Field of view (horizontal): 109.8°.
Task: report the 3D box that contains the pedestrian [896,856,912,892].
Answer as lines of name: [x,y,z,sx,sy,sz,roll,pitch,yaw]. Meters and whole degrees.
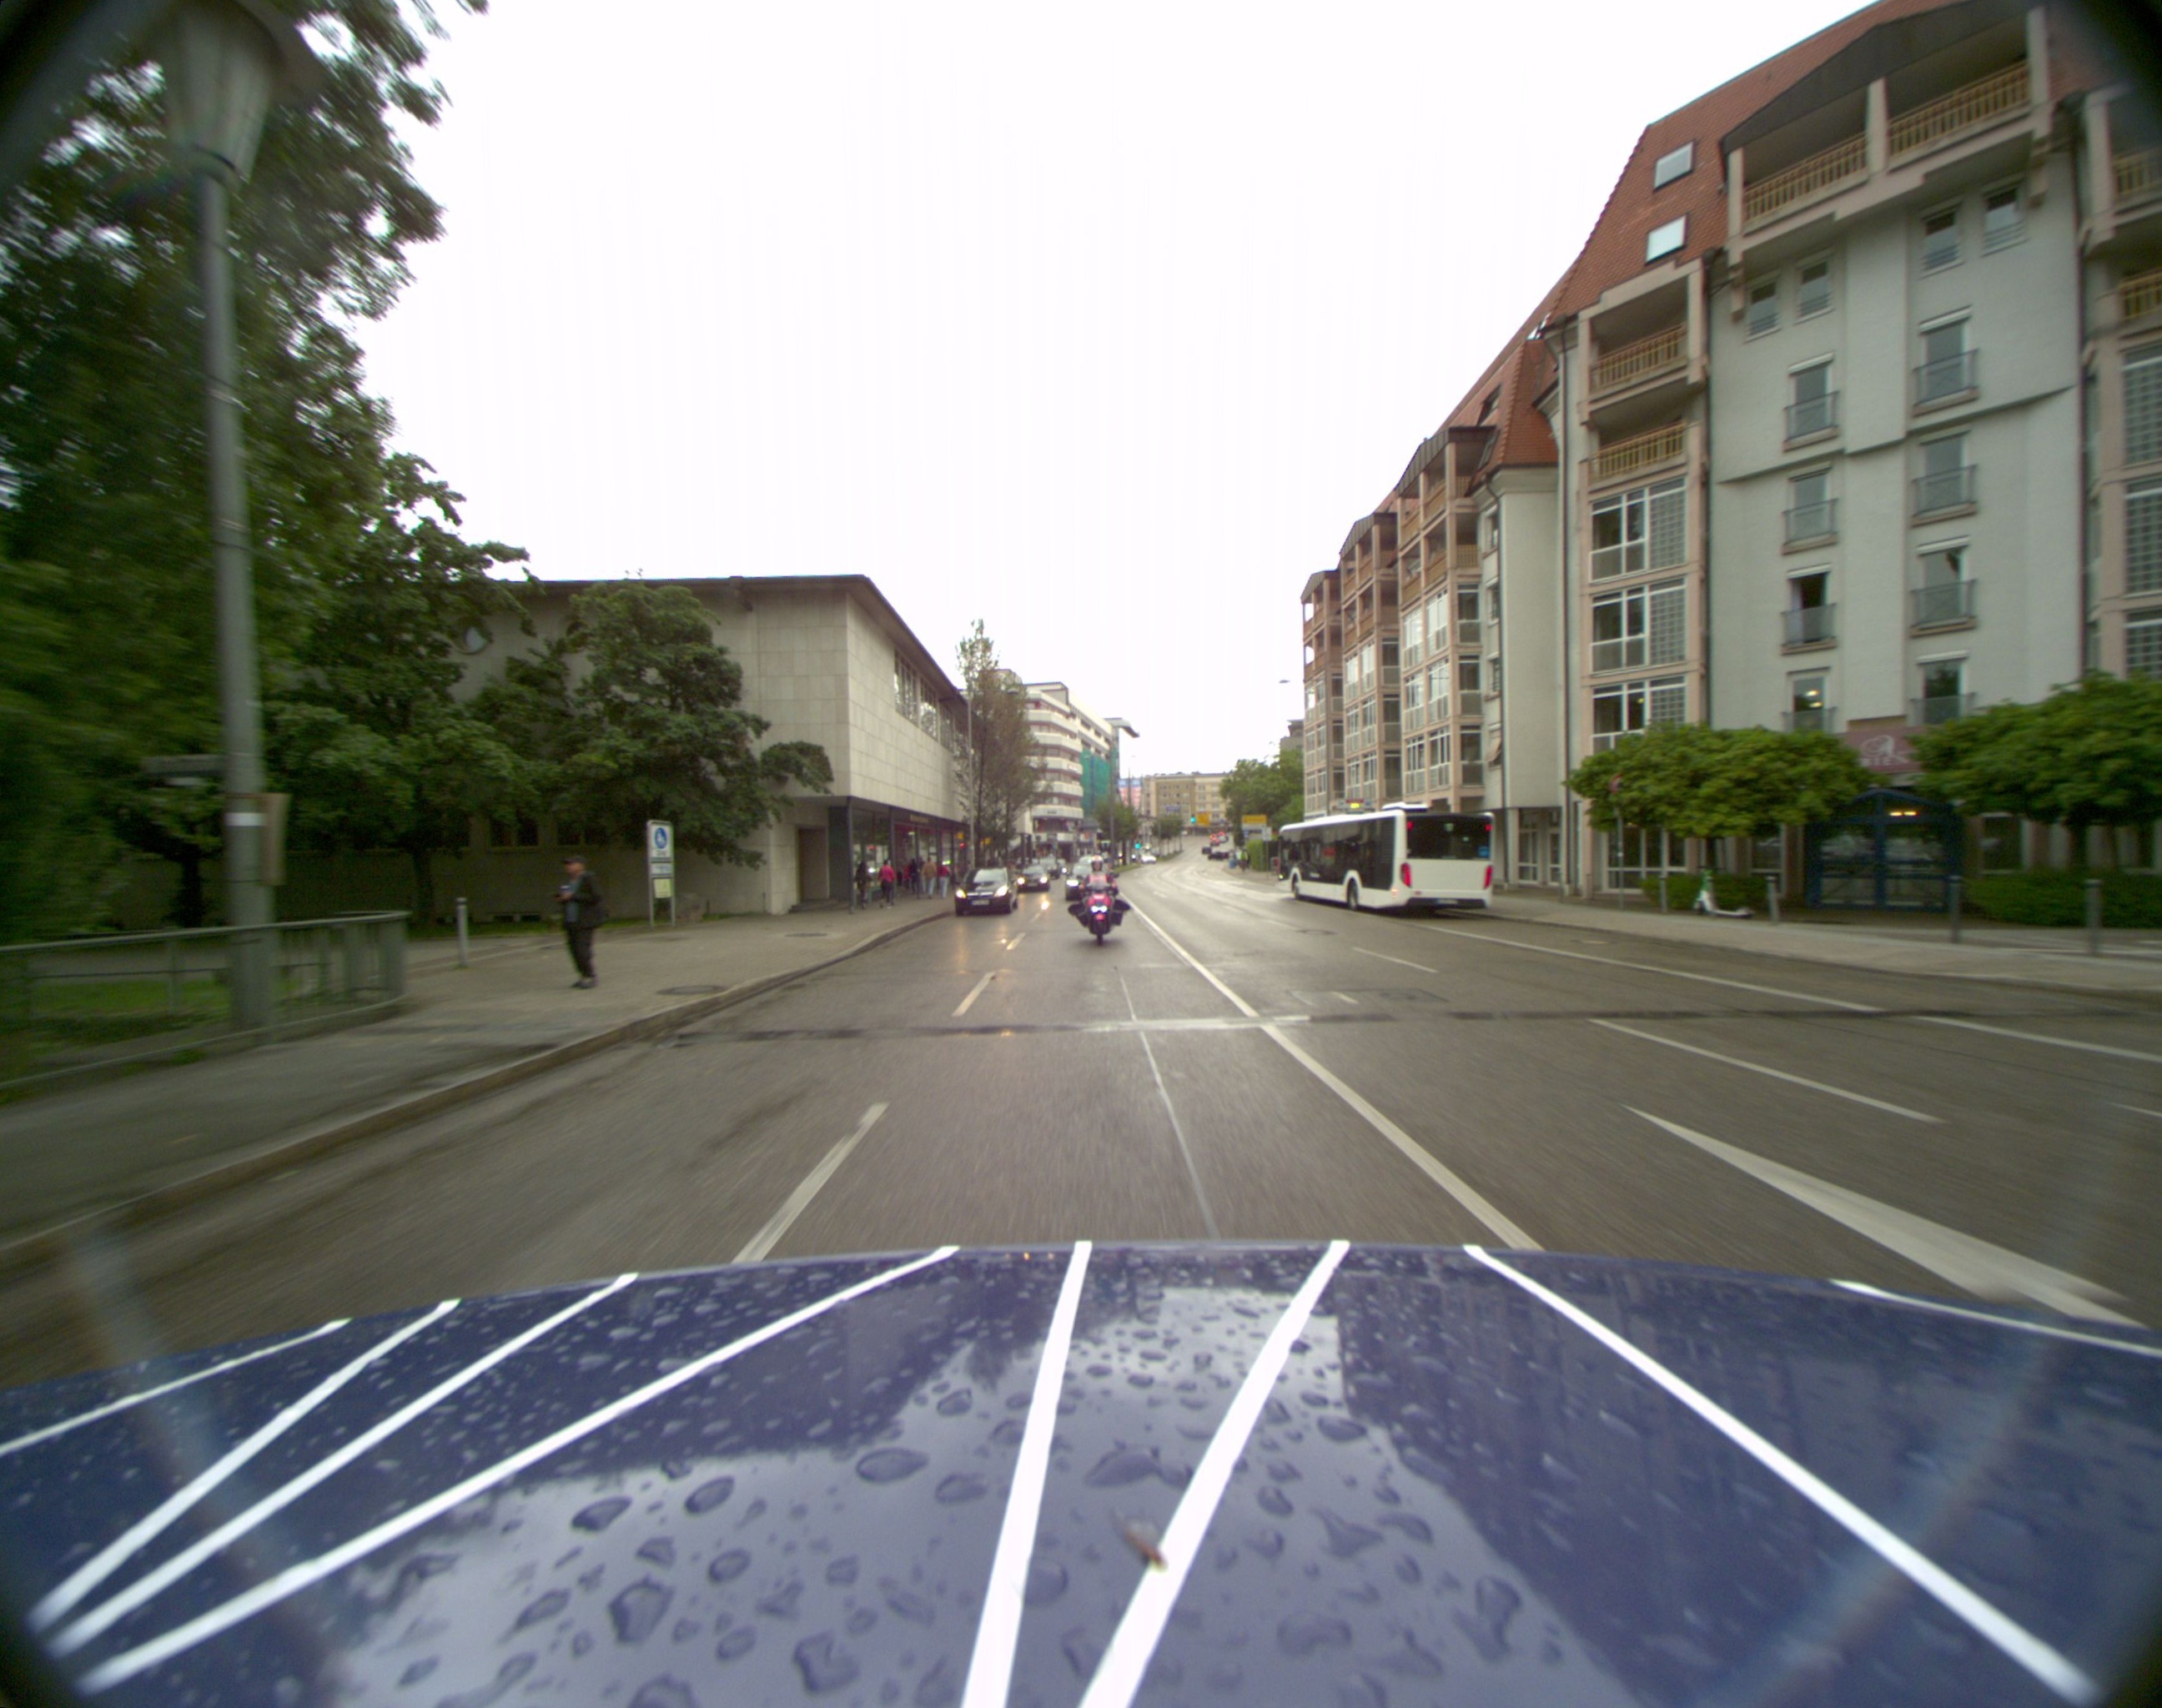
pedestrian: [-8.469,0.935,36.437,0.537,1.709,0.535,-1,1,10]

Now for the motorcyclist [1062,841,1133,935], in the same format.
motorcyclist: [0.332,0.642,14.739,1.295,1.757,0.846,-1,1,4]

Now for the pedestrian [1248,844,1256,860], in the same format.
pedestrian: [16.920,-0.158,75.245,0.716,1.550,0.565,-1,1,4]

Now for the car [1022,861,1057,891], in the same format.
car: [-2.195,1.152,40.676,1.596,1.432,3.627,-2,1,0]

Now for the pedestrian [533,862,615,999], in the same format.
pedestrian: [-6.334,0.934,9.510,0.641,1.654,0.563,0,0,-1]

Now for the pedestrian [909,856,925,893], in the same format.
pedestrian: [-7.821,0.965,36.186,0.537,1.709,0.535,-1,1,9]

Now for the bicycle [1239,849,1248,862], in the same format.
bicycle: [14.279,0.142,66.739,0.651,1.104,2.059,-1,1,10]

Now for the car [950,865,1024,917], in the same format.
car: [-2.918,1.113,24.284,1.712,1.448,3.743,-2,0,2]

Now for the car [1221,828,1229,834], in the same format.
car: [33.719,-5.391,178.279,1.674,1.507,3.645,0,2,13]

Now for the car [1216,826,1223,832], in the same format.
car: [34.627,-6.276,189.523,1.625,1.547,3.662,-1,1,11]

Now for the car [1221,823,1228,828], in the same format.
car: [38.415,-7.628,203.588,1.716,1.471,3.959,1,3,12]

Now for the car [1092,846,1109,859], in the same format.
car: [3.042,-0.305,116.596,1.830,1.727,4.001,0,4,14]

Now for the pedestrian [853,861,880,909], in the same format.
pedestrian: [-7.238,1.030,25.618,0.727,1.580,0.606,0,1,0]

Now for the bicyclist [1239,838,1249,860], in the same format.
bicyclist: [14.215,-0.446,66.420,0.793,1.879,0.954,-1,1,9]

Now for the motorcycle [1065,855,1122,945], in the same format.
motorcycle: [0.284,0.783,14.231,0.831,1.479,2.866,-1,1,5]

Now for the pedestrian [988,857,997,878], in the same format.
pedestrian: [-6.641,1.039,57.198,0.429,1.557,0.510,0,1,31]

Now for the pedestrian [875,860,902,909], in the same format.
pedestrian: [-6.470,1.015,25.543,0.719,1.611,0.769,0,1,0]

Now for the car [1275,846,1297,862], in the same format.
car: [19.671,-0.007,73.064,1.598,1.530,3.602,-1,0,7]

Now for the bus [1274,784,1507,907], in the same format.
bus: [9.399,-0.143,25.381,2.751,3.057,12.237,-1,-1,0]

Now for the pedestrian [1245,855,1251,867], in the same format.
pedestrian: [16.646,0.672,75.883,0.469,1.144,0.501,-1,1,4]

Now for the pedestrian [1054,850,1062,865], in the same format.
pedestrian: [-2.834,0.434,94.472,0.623,1.836,0.849,-1,1,19]

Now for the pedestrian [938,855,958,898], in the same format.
pedestrian: [-5.652,0.946,32.315,0.655,1.757,0.923,0,1,0]

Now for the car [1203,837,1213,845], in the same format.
car: [23.296,-2.418,139.506,1.761,1.412,4.097,1,2,7]

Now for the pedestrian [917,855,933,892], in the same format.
pedestrian: [-7.654,0.954,37.267,0.537,1.809,0.535,-1,1,9]

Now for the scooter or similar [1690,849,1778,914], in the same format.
scooter or similar: [14.533,0.577,16.967,0.483,1.307,1.570,-1,4,-3]

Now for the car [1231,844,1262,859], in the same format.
car: [20.666,-0.300,94.969,3.684,1.464,1.704,-4,-4,12]

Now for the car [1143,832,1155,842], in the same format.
car: [14.026,-3.522,156.771,1.830,1.727,4.001,0,4,14]

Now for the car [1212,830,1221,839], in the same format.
car: [29.518,-4.258,165.286,1.830,1.726,4.313,-1,2,12]

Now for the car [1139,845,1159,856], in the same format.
car: [9.246,-0.471,103.672,1.770,1.401,3.996,-3,2,-7]

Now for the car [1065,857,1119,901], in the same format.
car: [0.474,0.927,30.109,1.937,1.511,4.469,-2,0,2]

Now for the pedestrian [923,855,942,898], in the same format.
pedestrian: [-6.313,0.947,32.288,0.700,1.791,0.606,0,1,0]

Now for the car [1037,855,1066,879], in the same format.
car: [-2.315,1.025,60.325,1.735,1.669,4.249,-3,1,4]
